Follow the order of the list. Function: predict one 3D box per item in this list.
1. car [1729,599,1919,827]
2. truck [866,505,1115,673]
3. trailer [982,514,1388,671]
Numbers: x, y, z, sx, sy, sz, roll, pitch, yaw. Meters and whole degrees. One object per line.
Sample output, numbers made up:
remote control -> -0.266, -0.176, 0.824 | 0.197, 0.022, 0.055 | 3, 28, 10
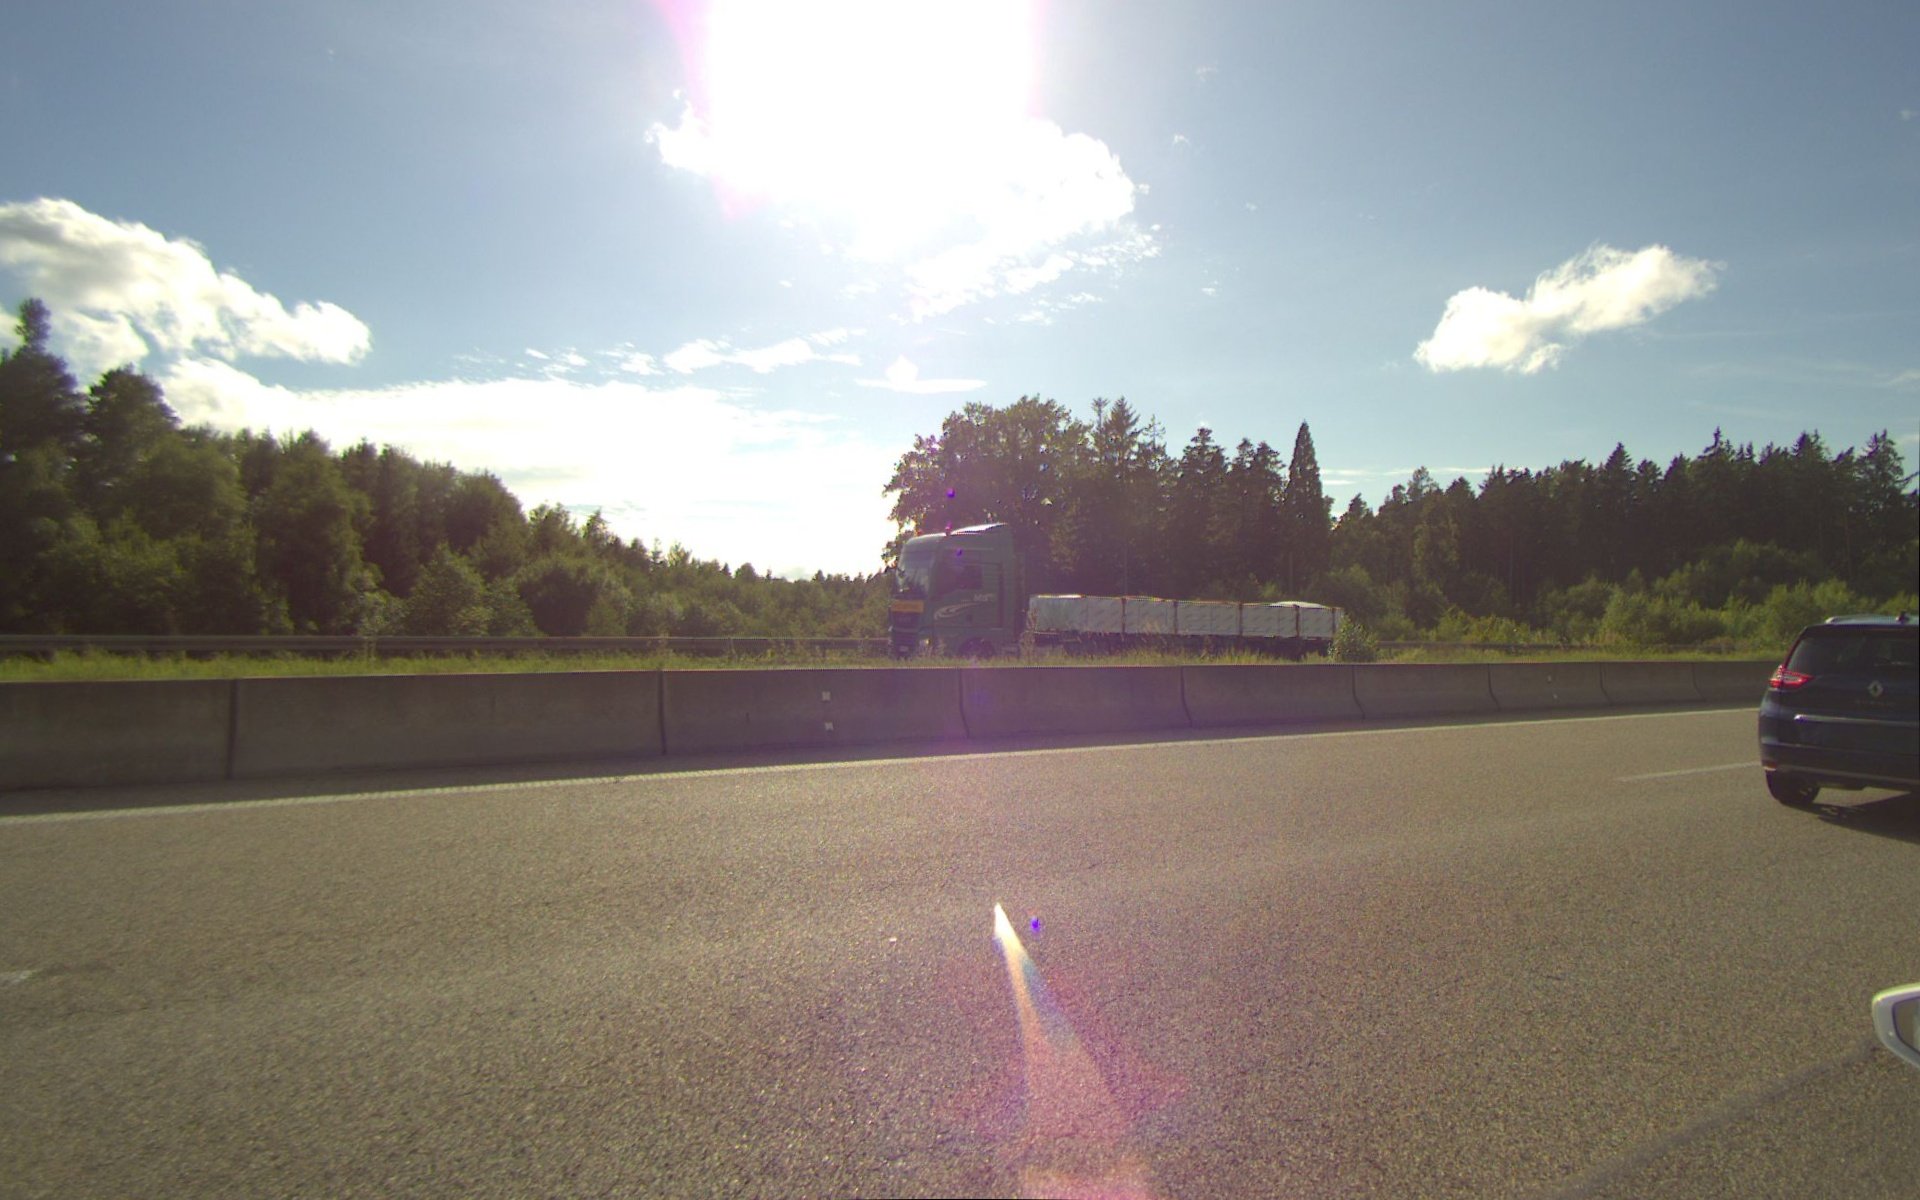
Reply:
car -> 9.110, 0.912, 9.022 | 4.477, 1.729, 1.984 | 2, -1, -31
truck -> 0.818, -0.199, 27.122 | 5.794, 4.062, 3.360 | 2, 0, -30
trailer -> 7.329, -0.017, 30.923 | 13.479, 4.062, 3.359 | 2, 0, -30
